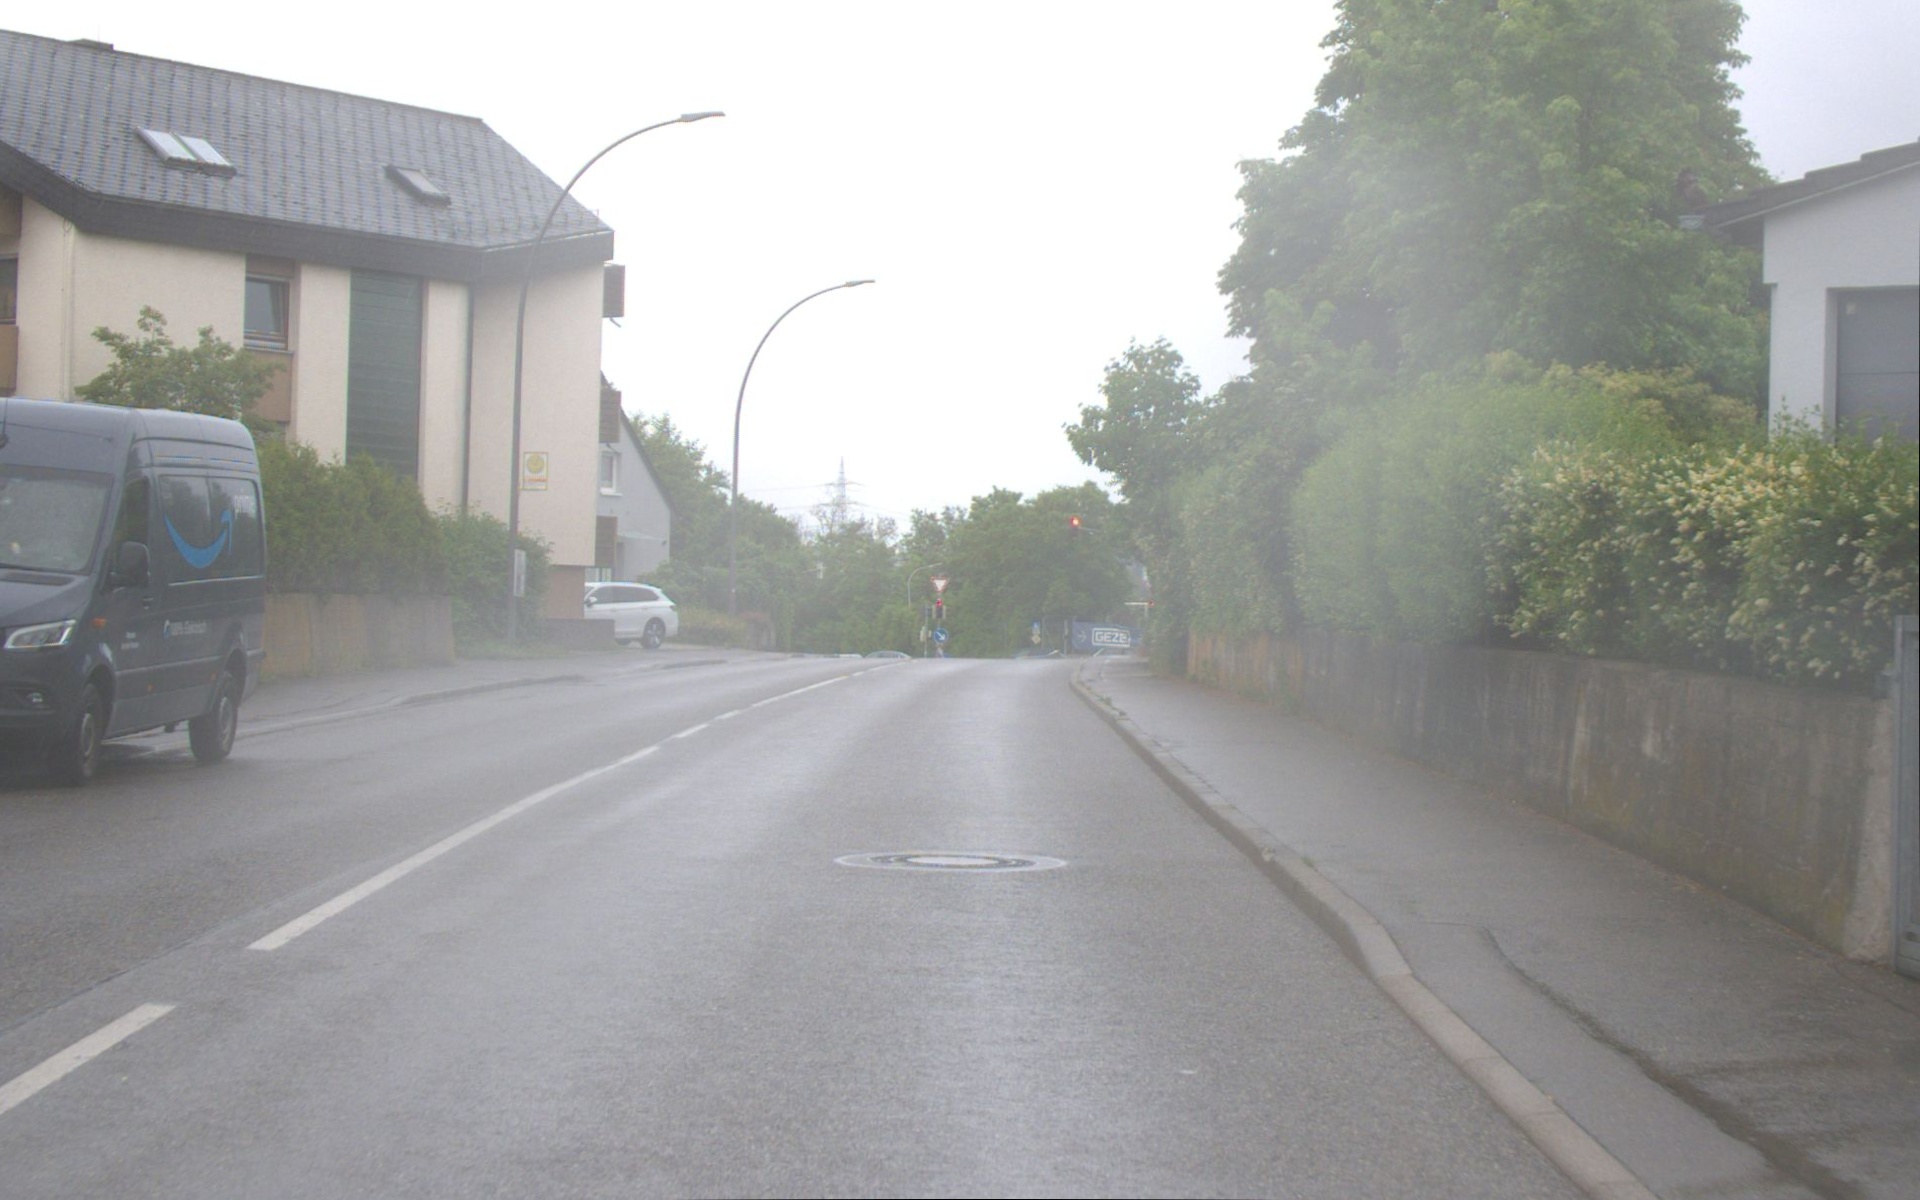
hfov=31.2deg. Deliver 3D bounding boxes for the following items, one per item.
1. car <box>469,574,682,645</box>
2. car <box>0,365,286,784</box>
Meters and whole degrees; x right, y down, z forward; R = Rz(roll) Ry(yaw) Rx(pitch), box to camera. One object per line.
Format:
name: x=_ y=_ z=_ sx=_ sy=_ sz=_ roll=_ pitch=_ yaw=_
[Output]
car: x=-8.564 y=0.221 z=77.031 sx=1.905 sy=1.472 sz=4.871 roll=3 pitch=1 yaw=36
car: x=-6.629 y=-0.219 z=24.800 sx=2.094 sy=2.640 sz=5.918 roll=2 pitch=0 yaw=2
